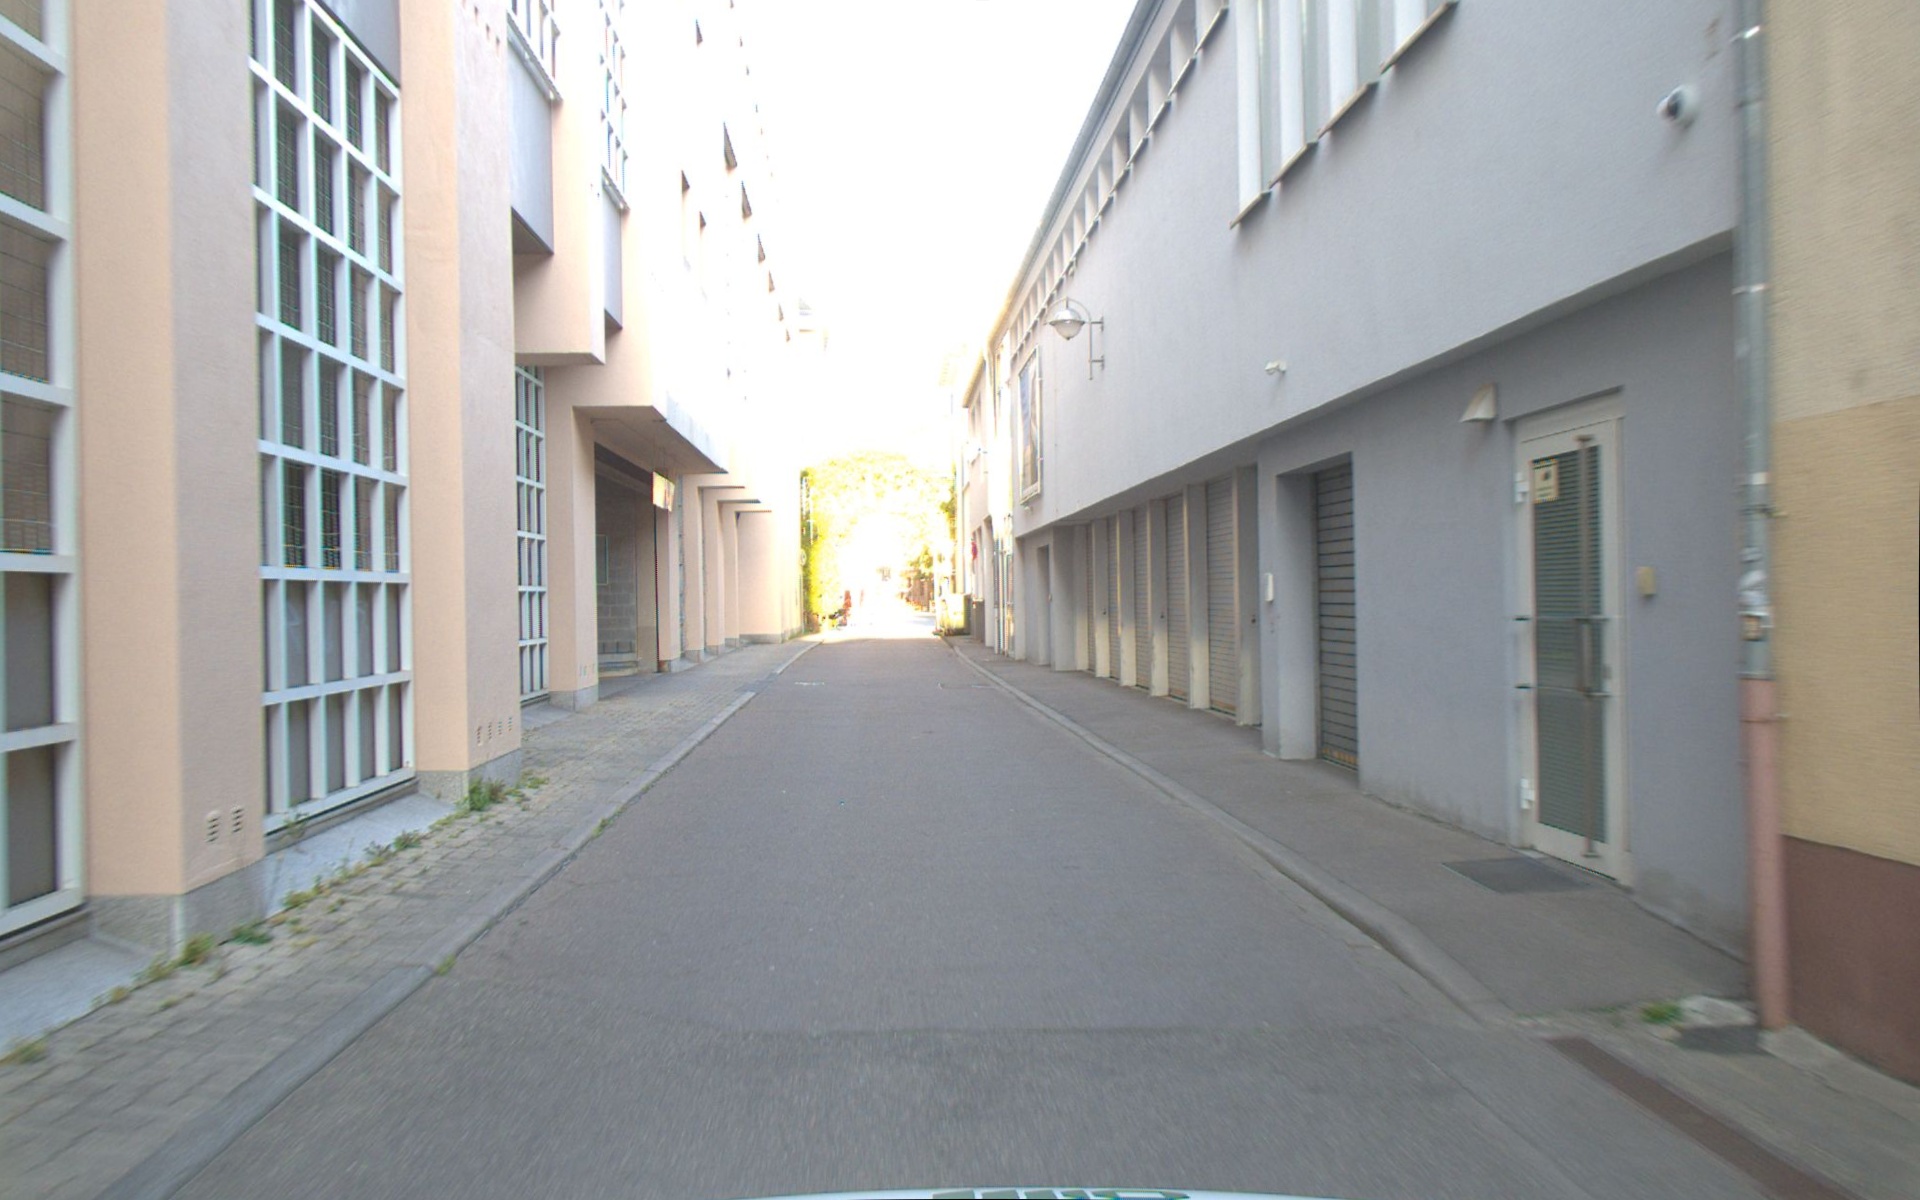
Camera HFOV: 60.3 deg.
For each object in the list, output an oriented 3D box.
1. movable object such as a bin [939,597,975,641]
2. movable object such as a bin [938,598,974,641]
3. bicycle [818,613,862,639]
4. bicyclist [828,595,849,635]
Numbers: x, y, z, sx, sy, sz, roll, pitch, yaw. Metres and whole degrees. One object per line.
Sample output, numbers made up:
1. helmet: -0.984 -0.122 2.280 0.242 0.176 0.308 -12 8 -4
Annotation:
1. movable object such as a bin: -0.100 0.636 54.855 0.920 1.390 1.339 -3 0 -9
2. movable object such as a bin: -0.136 0.648 56.260 1.043 1.390 1.341 -3 0 -5
3. bicycle: -5.417 1.177 74.436 1.947 1.132 0.734 0 0 -8
4. bicyclist: -5.473 0.681 74.427 0.863 1.816 0.734 0 0 -8
